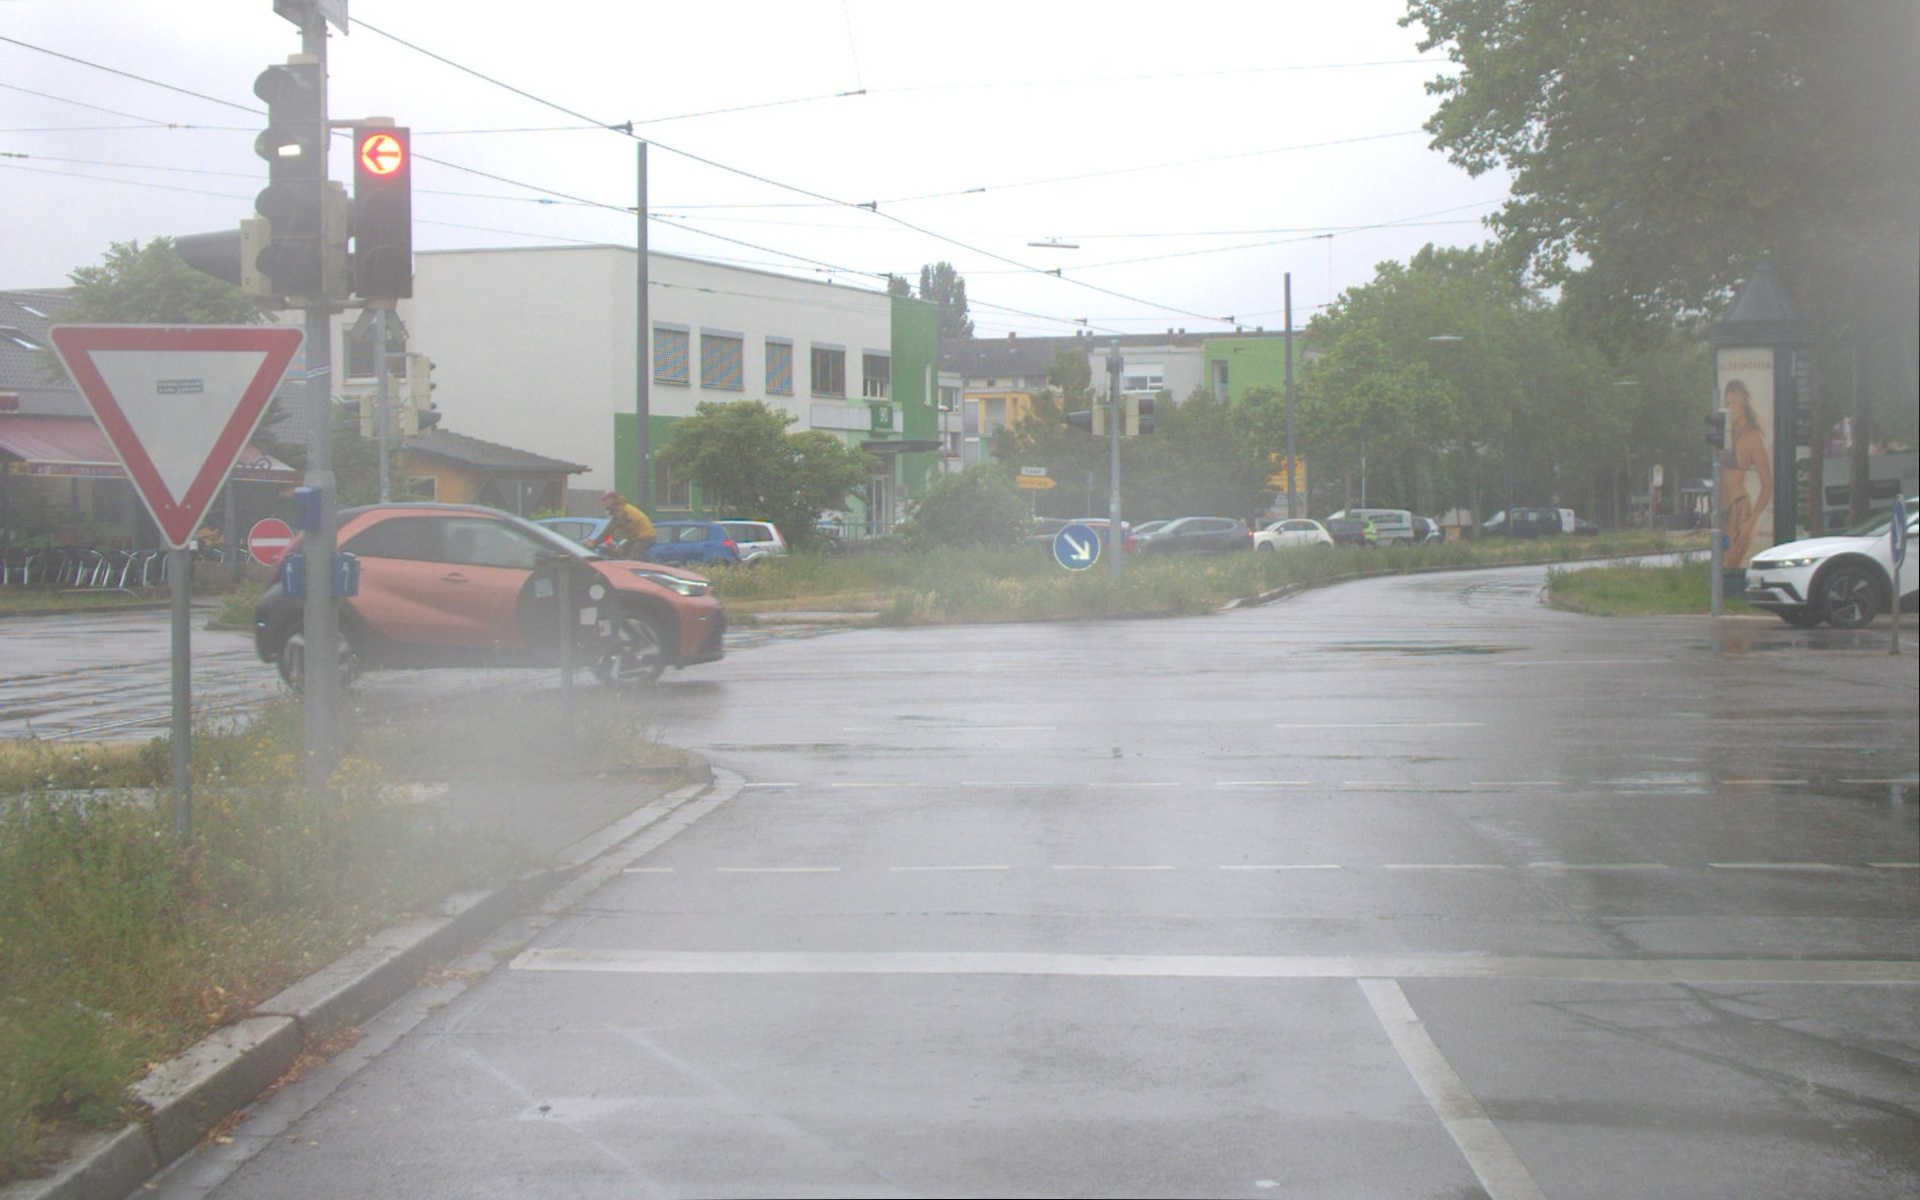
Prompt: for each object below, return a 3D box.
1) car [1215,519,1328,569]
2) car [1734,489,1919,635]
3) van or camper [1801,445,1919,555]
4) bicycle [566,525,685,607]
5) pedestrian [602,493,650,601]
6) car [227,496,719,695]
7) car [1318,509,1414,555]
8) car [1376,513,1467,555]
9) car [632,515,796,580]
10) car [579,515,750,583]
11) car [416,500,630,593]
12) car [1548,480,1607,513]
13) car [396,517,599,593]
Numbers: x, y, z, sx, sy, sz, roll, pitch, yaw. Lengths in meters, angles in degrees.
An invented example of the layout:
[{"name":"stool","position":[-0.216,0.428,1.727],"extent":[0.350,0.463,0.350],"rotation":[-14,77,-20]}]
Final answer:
[{"name":"car","position":[12.087,-2.162,133.578],"extent":[4.134,1.853,1.674],"rotation":[-1,1,-4]},{"name":"car","position":[11.606,-0.480,40.657],"extent":[4.460,1.650,1.652],"rotation":[-1,1,-5]},{"name":"van or camper","position":[23.945,-2.492,86.368],"extent":[5.225,2.688,2.241],"rotation":[2,2,19]},{"name":"bicycle","position":[-4.599,-0.468,47.335],"extent":[1.562,1.098,0.500],"rotation":[-1,1,2]},{"name":"pedestrian","position":[-4.594,-0.735,47.329],"extent":[0.576,1.470,0.500],"rotation":[-1,1,2]},{"name":"car","position":[-3.911,-0.056,27.933],"extent":[3.817,1.494,1.652],"rotation":[-1,1,-6]},{"name":"car","position":[17.874,-2.993,151.353],"extent":[4.136,1.969,1.673],"rotation":[-1,1,7]},{"name":"car","position":[21.537,-3.091,160.548],"extent":[4.136,1.853,1.673],"rotation":[-1,1,7]},{"name":"car","position":[-5.765,-1.243,80.475],"extent":[3.749,1.437,1.763],"rotation":[-1,1,-6]},{"name":"car","position":[-6.641,-1.158,77.201],"extent":[3.749,1.437,1.763],"rotation":[-1,1,-6]},{"name":"car","position":[-9.170,-1.127,72.277],"extent":[4.136,1.853,1.673],"rotation":[-1,1,7]},{"name":"car","position":[39.246,-6.584,218.425],"extent":[3.446,2.007,1.806],"rotation":[-1,1,17]},{"name":"car","position":[-9.233,-0.905,68.824],"extent":[3.750,1.437,1.762],"rotation":[-1,1,3]}]
